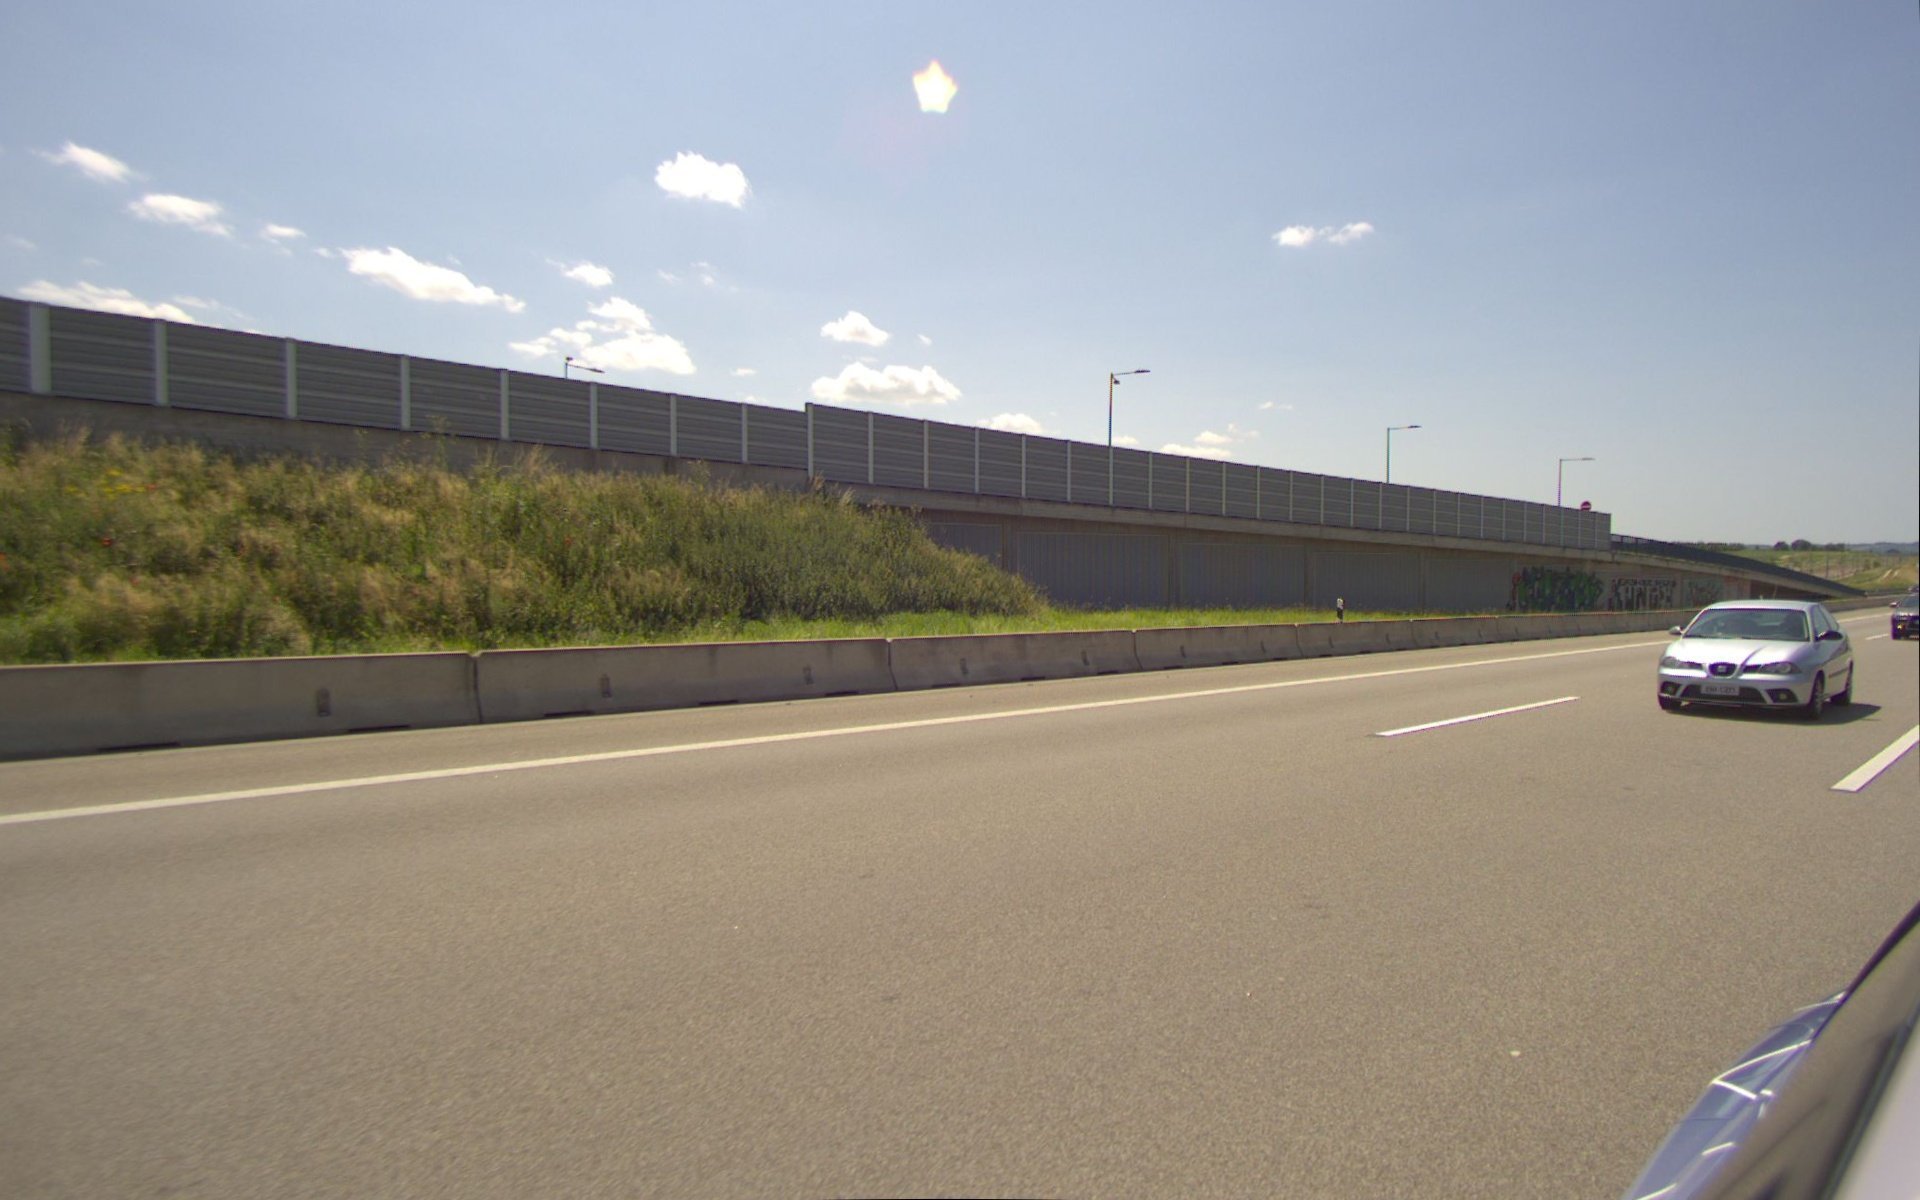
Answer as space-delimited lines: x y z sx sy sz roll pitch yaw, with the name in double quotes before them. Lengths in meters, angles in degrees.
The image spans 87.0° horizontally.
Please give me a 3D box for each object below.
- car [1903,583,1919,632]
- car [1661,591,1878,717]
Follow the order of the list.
"car" 32.933 0.229 33.784 3.931 1.588 1.749 -1 1 -41
"car" 10.927 0.601 13.566 3.931 1.406 1.633 -1 1 -41
